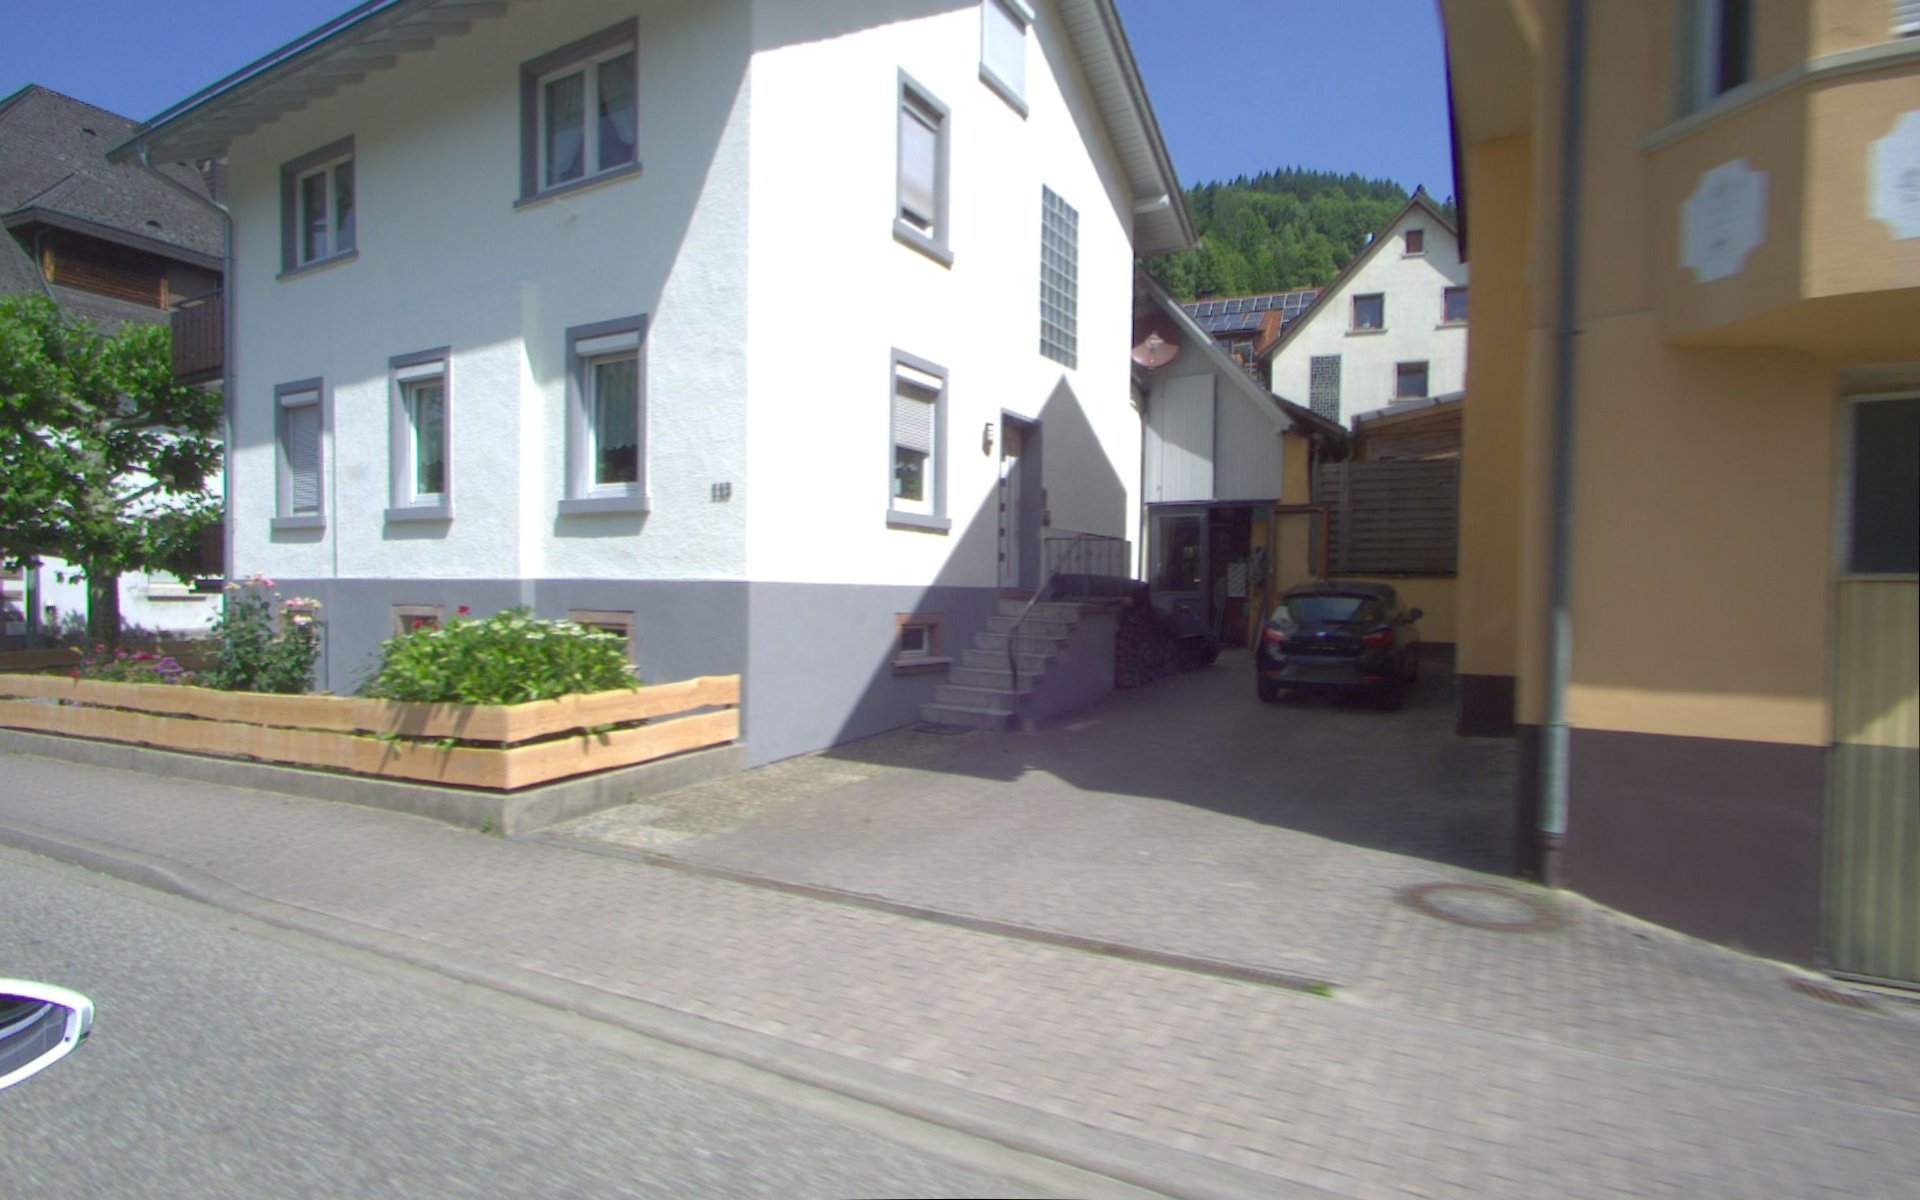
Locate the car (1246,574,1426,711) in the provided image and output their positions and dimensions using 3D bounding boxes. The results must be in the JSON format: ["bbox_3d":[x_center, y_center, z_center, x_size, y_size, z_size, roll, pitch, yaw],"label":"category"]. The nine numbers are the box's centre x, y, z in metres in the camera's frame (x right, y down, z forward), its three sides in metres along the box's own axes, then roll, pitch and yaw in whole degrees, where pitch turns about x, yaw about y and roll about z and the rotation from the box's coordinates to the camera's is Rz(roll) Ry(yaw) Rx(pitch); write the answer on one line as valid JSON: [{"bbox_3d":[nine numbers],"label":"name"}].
[{"bbox_3d":[4.965,0.443,12.916,1.572,1.395,3.805,-2,2,29],"label":"car"}]
